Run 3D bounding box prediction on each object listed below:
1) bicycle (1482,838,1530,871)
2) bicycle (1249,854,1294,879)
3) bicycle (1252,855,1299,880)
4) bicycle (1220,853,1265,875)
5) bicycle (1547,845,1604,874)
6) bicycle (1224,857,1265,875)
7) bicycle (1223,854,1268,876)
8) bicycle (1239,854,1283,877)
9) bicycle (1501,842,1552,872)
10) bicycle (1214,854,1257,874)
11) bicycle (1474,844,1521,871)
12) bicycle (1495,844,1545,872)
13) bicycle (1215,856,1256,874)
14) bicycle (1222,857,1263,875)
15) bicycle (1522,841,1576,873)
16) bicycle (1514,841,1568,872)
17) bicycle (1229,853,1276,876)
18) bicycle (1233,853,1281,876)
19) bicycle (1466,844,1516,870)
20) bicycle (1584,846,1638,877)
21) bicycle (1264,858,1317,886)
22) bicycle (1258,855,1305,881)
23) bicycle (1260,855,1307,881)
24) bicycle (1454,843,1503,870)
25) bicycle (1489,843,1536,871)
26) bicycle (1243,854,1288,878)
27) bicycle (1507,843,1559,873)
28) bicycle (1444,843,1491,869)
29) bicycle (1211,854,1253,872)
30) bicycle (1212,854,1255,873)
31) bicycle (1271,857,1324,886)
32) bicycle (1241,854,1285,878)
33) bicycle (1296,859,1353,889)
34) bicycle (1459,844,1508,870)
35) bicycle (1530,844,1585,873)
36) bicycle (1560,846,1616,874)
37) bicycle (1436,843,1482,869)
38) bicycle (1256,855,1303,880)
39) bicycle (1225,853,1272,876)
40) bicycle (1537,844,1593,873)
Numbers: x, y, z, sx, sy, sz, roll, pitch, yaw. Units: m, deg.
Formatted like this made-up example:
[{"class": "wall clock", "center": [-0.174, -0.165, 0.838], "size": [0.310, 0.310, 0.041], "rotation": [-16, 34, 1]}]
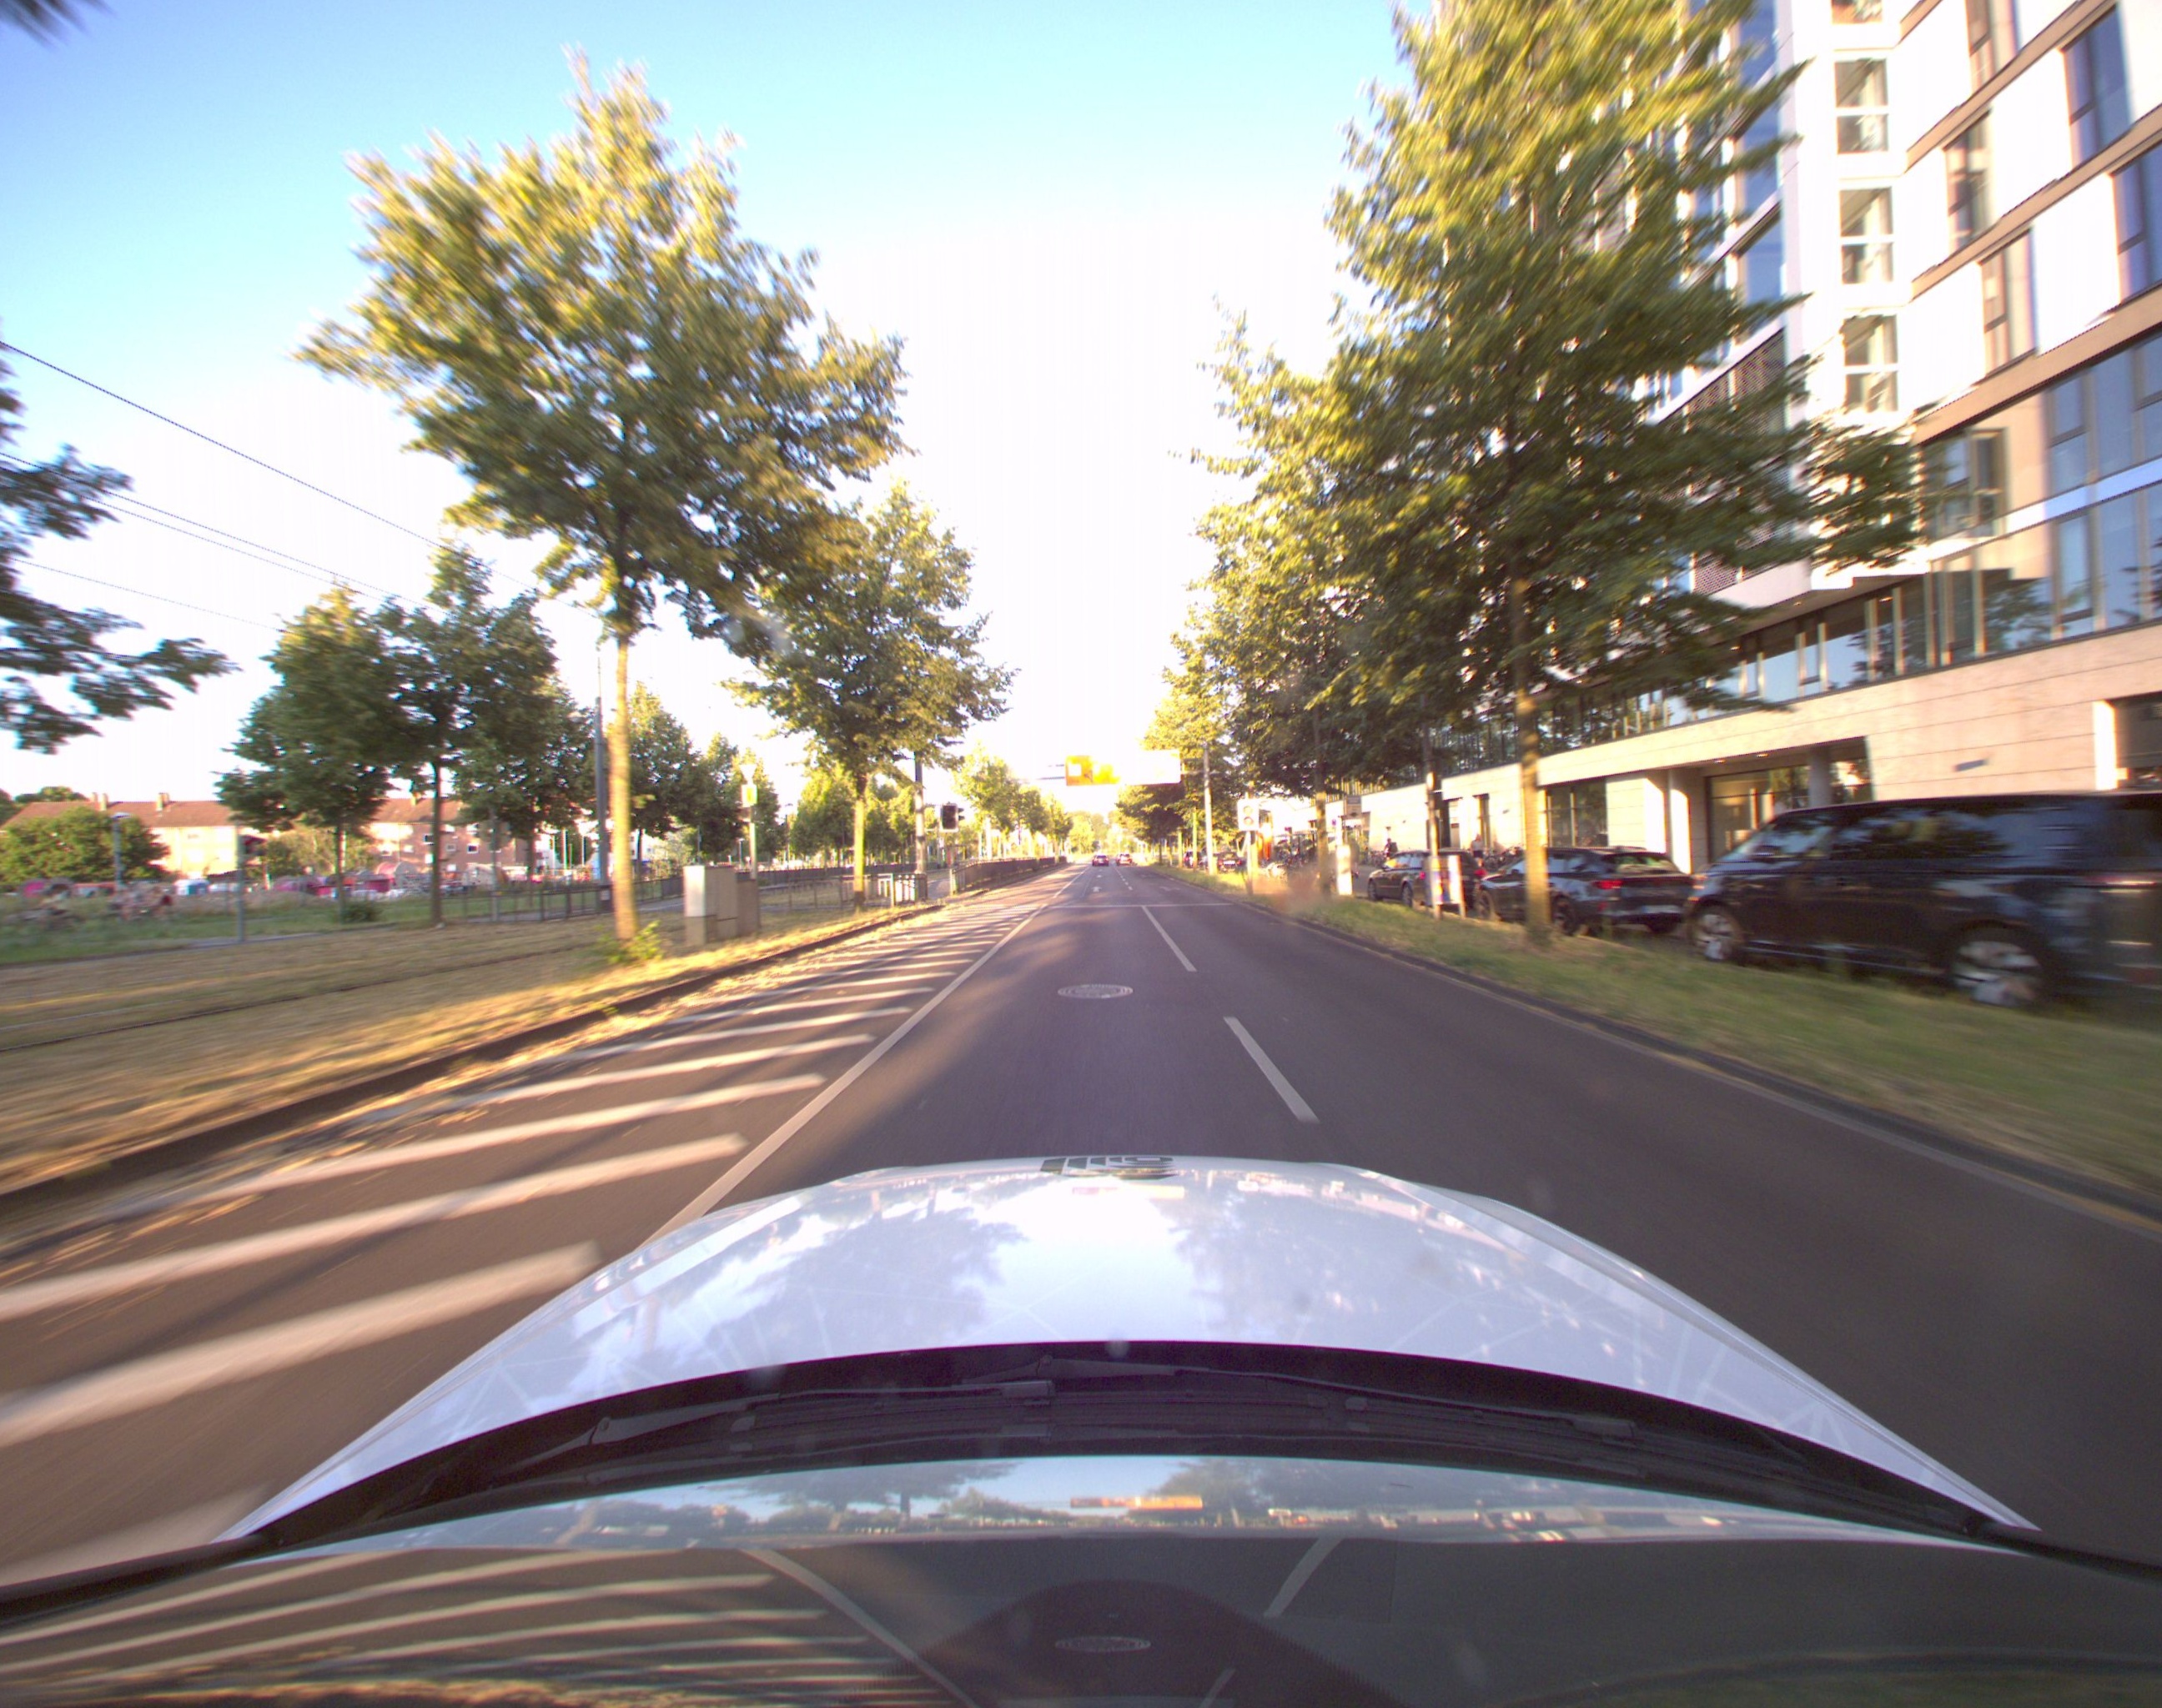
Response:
[{"class": "bicycle", "center": [18.389, 0.004, 35.246], "size": [1.826, 1.357, 0.503], "rotation": [-2, 0, -2]}, {"class": "bicycle", "center": [8.554, 0.572, 36.568], "size": [1.939, 1.054, 0.413], "rotation": [1, 0, -7]}, {"class": "bicycle", "center": [8.584, 0.580, 35.951], "size": [1.939, 1.054, 0.413], "rotation": [1, 0, -7]}, {"class": "bicycle", "center": [8.151, 0.506, 41.162], "size": [2.139, 1.054, 0.524], "rotation": [1, 0, -6]}, {"class": "bicycle", "center": [18.344, 0.209, 30.250], "size": [1.823, 0.987, 0.404], "rotation": [-2, 0, 1]}, {"class": "bicycle", "center": [9.151, 0.684, 45.546], "size": [2.139, 0.939, 0.544], "rotation": [1, 0, -6]}, {"class": "bicycle", "center": [8.201, 0.541, 40.575], "size": [2.139, 1.054, 0.524], "rotation": [1, 0, -6]}, {"class": "bicycle", "center": [8.417, 0.537, 38.120], "size": [1.939, 1.054, 0.404], "rotation": [1, 0, -6]}, {"class": "bicycle", "center": [18.381, 0.129, 33.636], "size": [1.826, 1.177, 0.503], "rotation": [-2, 0, -2]}, {"class": "bicycle", "center": [8.084, 0.508, 42.574], "size": [2.139, 0.973, 0.442], "rotation": [1, 0, -6]}, {"class": "bicycle", "center": [18.299, 0.138, 35.798], "size": [1.826, 1.121, 0.503], "rotation": [-2, 0, -2]}, {"class": "bicycle", "center": [18.471, 0.152, 34.255], "size": [1.826, 1.113, 0.503], "rotation": [-2, 0, -2]}, {"class": "bicycle", "center": [8.345, 0.588, 44.116], "size": [2.139, 0.939, 0.442], "rotation": [1, 0, -6]}, {"class": "bicycle", "center": [8.927, 0.667, 45.024], "size": [2.139, 0.939, 0.442], "rotation": [1, 0, -6]}, {"class": "bicycle", "center": [18.367, 0.107, 31.968], "size": [1.823, 1.177, 0.446], "rotation": [-2, 0, 1]}, {"class": "bicycle", "center": [18.341, 0.101, 32.477], "size": [1.823, 1.177, 0.446], "rotation": [-2, 0, 1]}, {"class": "bicycle", "center": [8.273, 0.511, 39.352], "size": [2.139, 1.054, 0.561], "rotation": [1, 0, -6]}, {"class": "bicycle", "center": [8.333, 0.505, 38.659], "size": [2.139, 1.054, 0.570], "rotation": [1, 0, -6]}, {"class": "bicycle", "center": [18.343, 0.138, 36.484], "size": [1.977, 1.100, 0.503], "rotation": [-2, 0, -2]}, {"class": "bicycle", "center": [18.446, 0.262, 28.330], "size": [1.569, 0.987, 0.404], "rotation": [-2, 0, 1]}, {"class": "bicycle", "center": [8.187, 0.704, 31.812], "size": [1.944, 1.054, 0.542], "rotation": [1, 0, -14]}, {"class": "bicycle", "center": [8.621, 0.594, 34.940], "size": [1.939, 1.054, 0.347], "rotation": [1, 0, -7]}, {"class": "bicycle", "center": [8.610, 0.600, 34.579], "size": [1.939, 1.054, 0.314], "rotation": [1, 0, -7]}, {"class": "bicycle", "center": [18.421, 0.099, 37.748], "size": [1.977, 1.182, 0.503], "rotation": [-2, 0, -2]}, {"class": "bicycle", "center": [18.405, 0.131, 34.743], "size": [1.826, 1.124, 0.372], "rotation": [-2, 0, -2]}, {"class": "bicycle", "center": [8.417, 0.560, 37.177], "size": [1.936, 1.054, 0.404], "rotation": [1, 0, -2]}, {"class": "bicycle", "center": [18.351, 0.159, 33.058], "size": [1.826, 1.177, 0.503], "rotation": [-2, 0, -2]}, {"class": "bicycle", "center": [18.285, 0.098, 38.575], "size": [1.977, 1.168, 0.503], "rotation": [-2, 0, -2]}, {"class": "bicycle", "center": [8.086, 0.489, 43.597], "size": [2.139, 0.939, 0.451], "rotation": [1, 0, -6]}, {"class": "bicycle", "center": [8.067, 0.499, 43.090], "size": [2.139, 0.939, 0.442], "rotation": [1, 0, -6]}, {"class": "bicycle", "center": [8.297, 0.673, 31.222], "size": [1.944, 1.054, 0.542], "rotation": [1, 0, -14]}, {"class": "bicycle", "center": [8.423, 0.556, 37.655], "size": [1.939, 1.054, 0.404], "rotation": [1, 0, -6]}, {"class": "bicycle", "center": [8.919, 0.722, 29.878], "size": [1.935, 1.054, 0.545], "rotation": [1, 0, 0]}, {"class": "bicycle", "center": [18.363, 0.134, 37.155], "size": [1.977, 1.141, 0.503], "rotation": [-2, 0, -2]}, {"class": "bicycle", "center": [18.390, 0.165, 31.453], "size": [1.823, 1.047, 0.446], "rotation": [-2, 0, 1]}, {"class": "bicycle", "center": [18.408, 0.219, 29.578], "size": [1.737, 0.953, 0.404], "rotation": [-2, 0, 1]}, {"class": "bicycle", "center": [18.248, 0.102, 39.304], "size": [1.977, 1.141, 0.503], "rotation": [-2, 0, -2]}, {"class": "bicycle", "center": [8.622, 0.588, 35.412], "size": [1.939, 1.054, 0.413], "rotation": [1, 0, -7]}, {"class": "bicycle", "center": [8.219, 0.517, 39.981], "size": [2.139, 1.054, 0.570], "rotation": [1, 0, -6]}, {"class": "bicycle", "center": [18.401, 0.166, 30.966], "size": [1.823, 1.057, 0.404], "rotation": [-2, 0, 1]}]
